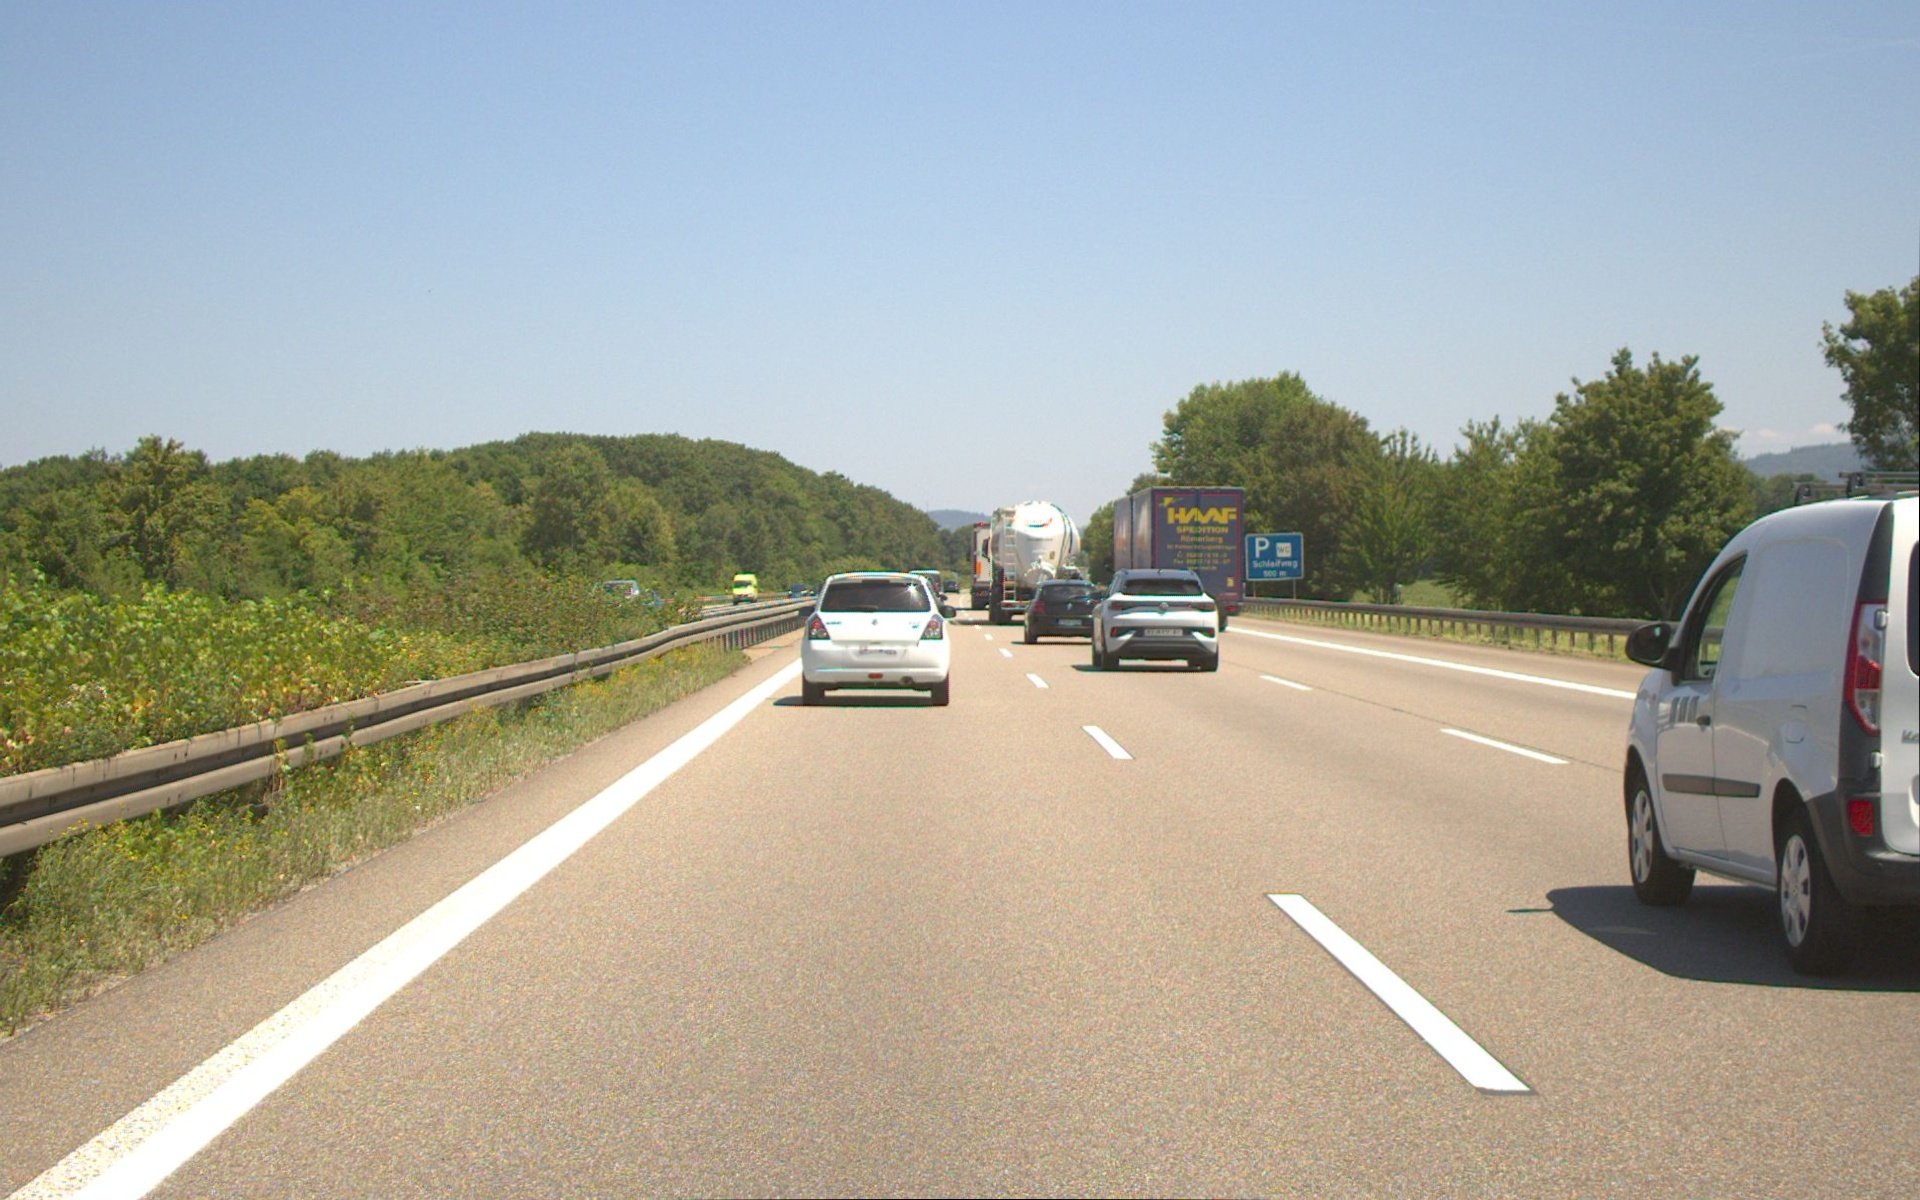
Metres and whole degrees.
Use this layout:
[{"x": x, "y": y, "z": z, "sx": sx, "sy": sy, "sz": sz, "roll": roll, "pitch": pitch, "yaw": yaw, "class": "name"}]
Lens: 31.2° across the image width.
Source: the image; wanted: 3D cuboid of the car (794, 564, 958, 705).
[{"x": -0.970, "y": 0.366, "z": 40.026, "sx": 1.799, "sy": 1.547, "sz": 3.610, "roll": 1, "pitch": 0, "yaw": -1, "class": "car"}]

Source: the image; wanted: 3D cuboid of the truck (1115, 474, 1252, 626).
[{"x": 6.465, "y": -1.438, "z": 101.830, "sx": 3.109, "sy": 4.125, "sz": 15.511, "roll": 1, "pitch": 0, "yaw": 0, "class": "truck"}]

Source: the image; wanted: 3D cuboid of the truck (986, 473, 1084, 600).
[{"x": 2.456, "y": -2.095, "z": 114.926, "sx": 2.912, "sy": 4.065, "sz": 7.195, "roll": 1, "pitch": 0, "yaw": -1, "class": "truck"}]

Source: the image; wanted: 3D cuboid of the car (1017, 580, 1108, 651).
[{"x": 2.257, "y": 0.324, "z": 76.437, "sx": 1.850, "sy": 1.518, "sz": 3.957, "roll": 1, "pitch": 0, "yaw": 0, "class": "car"}]

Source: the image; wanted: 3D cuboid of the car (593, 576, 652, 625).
[{"x": -14.369, "y": 0.011, "z": 146.648, "sx": 2.041, "sy": 1.918, "sz": 5.227, "roll": -3, "pitch": 1, "yaw": -1, "class": "car"}]

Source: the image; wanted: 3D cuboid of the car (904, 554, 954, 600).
[{"x": -1.585, "y": -1.193, "z": 177.253, "sx": 2.475, "sy": 2.346, "sz": 5.181, "roll": 1, "pitch": 0, "yaw": 0, "class": "car"}]

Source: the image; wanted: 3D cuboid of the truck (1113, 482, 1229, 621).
[{"x": 6.516, "y": -1.482, "z": 107.154, "sx": 3.109, "sy": 4.125, "sz": 8.056, "roll": 1, "pitch": 0, "yaw": 0, "class": "truck"}]

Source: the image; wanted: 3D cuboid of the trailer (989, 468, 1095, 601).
[{"x": 2.559, "y": -2.055, "z": 111.337, "sx": 2.911, "sy": 4.055, "sz": 12.419, "roll": 1, "pitch": 0, "yaw": -1, "class": "trailer"}]

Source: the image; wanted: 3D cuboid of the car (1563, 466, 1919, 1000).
[{"x": 3.900, "y": 0.452, "z": 14.340, "sx": 1.853, "sy": 1.856, "sz": 4.702, "roll": 1, "pitch": 0, "yaw": -1, "class": "car"}]

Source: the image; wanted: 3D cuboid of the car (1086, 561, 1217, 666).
[{"x": 3.036, "y": 0.186, "z": 55.212, "sx": 1.802, "sy": 1.597, "sz": 4.381, "roll": 1, "pitch": 0, "yaw": 0, "class": "car"}]

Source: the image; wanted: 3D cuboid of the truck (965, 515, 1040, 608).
[{"x": 1.998, "y": -1.827, "z": 163.757, "sx": 3.394, "sy": 4.199, "sz": 12.083, "roll": 1, "pitch": 0, "yaw": 0, "class": "truck"}]
